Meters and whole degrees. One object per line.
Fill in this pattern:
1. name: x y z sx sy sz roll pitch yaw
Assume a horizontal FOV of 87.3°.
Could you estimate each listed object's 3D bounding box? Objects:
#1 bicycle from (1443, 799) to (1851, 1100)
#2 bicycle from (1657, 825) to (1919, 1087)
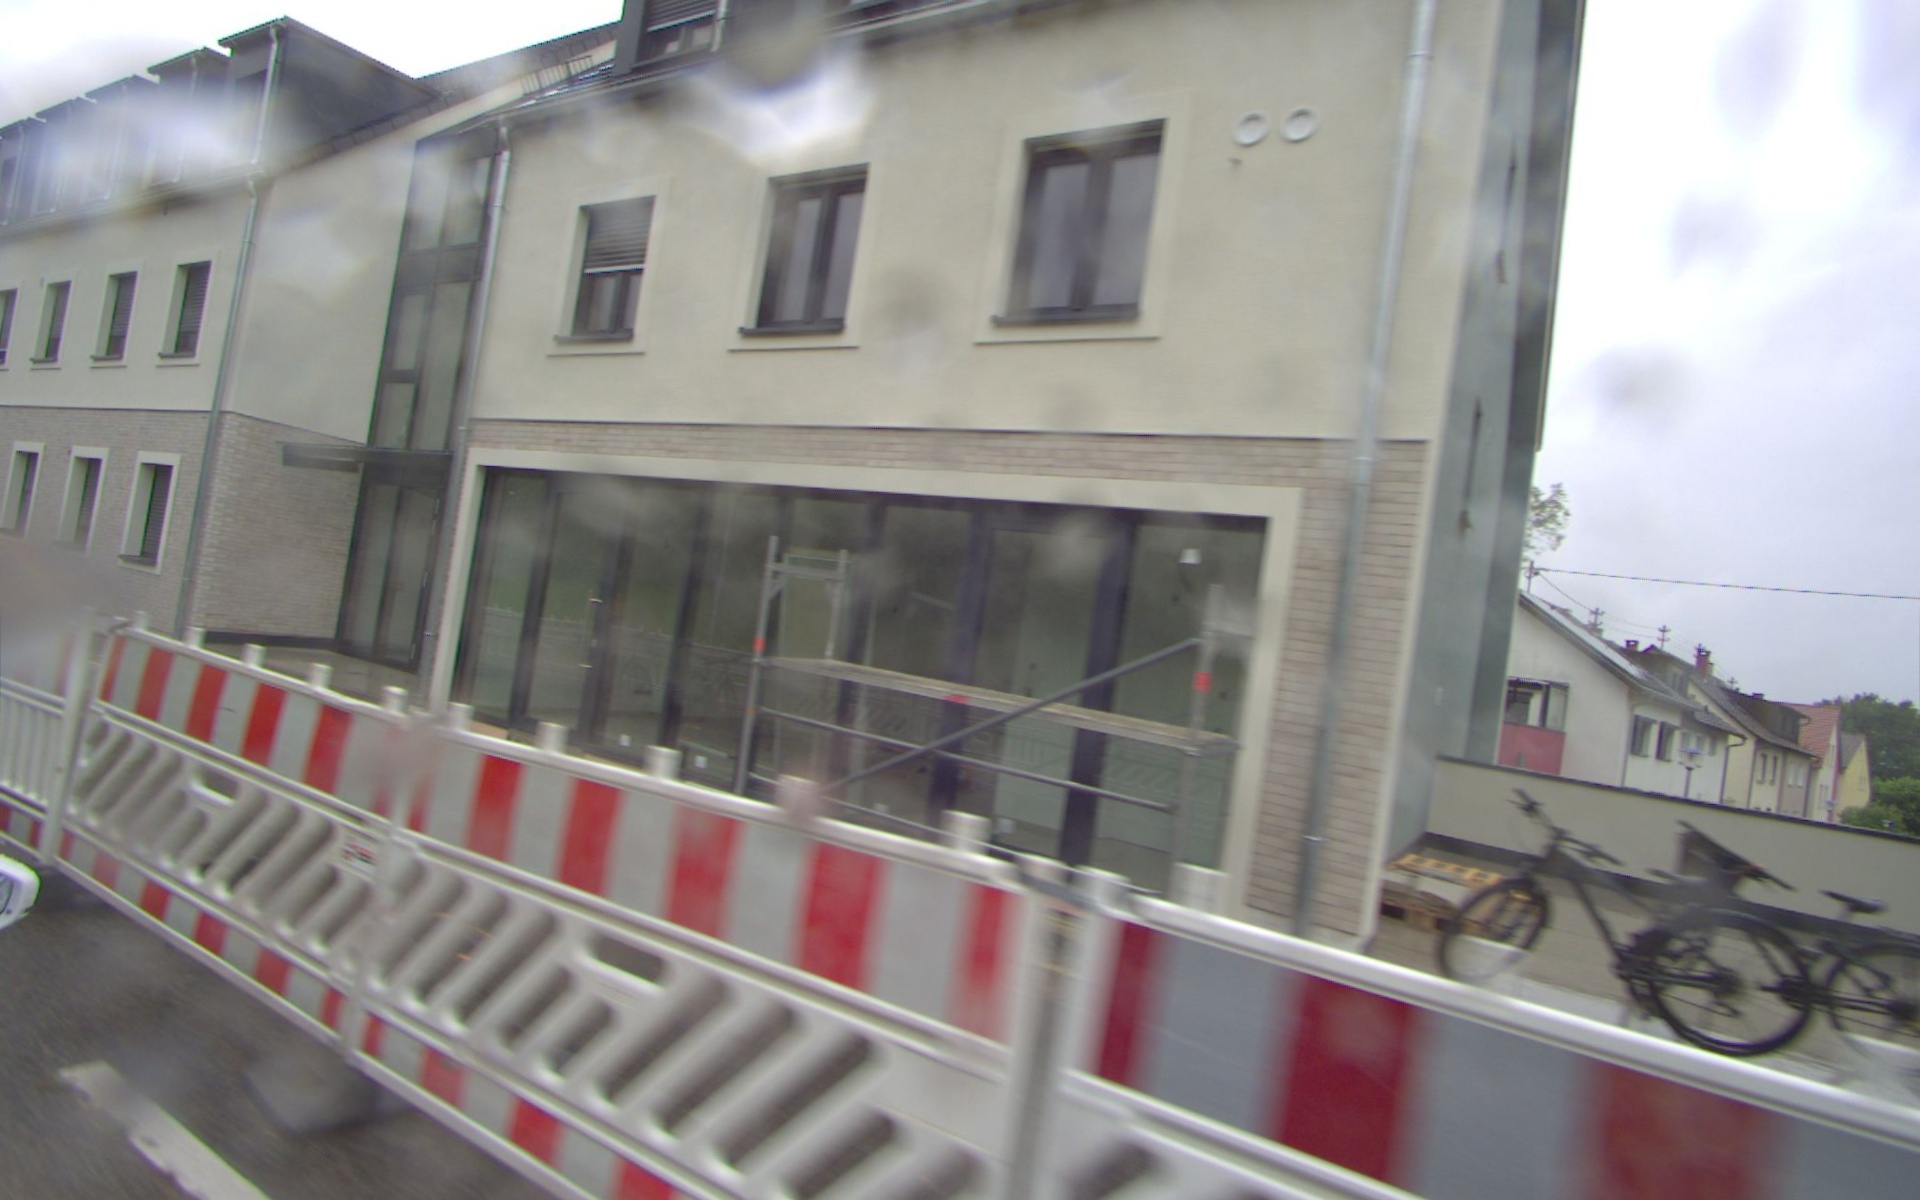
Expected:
1. bicycle: 3.529 1.759 5.332 1.626 1.065 0.489 6 -1 29
2. bicycle: 4.773 1.928 5.444 1.508 1.065 0.489 6 -1 29
